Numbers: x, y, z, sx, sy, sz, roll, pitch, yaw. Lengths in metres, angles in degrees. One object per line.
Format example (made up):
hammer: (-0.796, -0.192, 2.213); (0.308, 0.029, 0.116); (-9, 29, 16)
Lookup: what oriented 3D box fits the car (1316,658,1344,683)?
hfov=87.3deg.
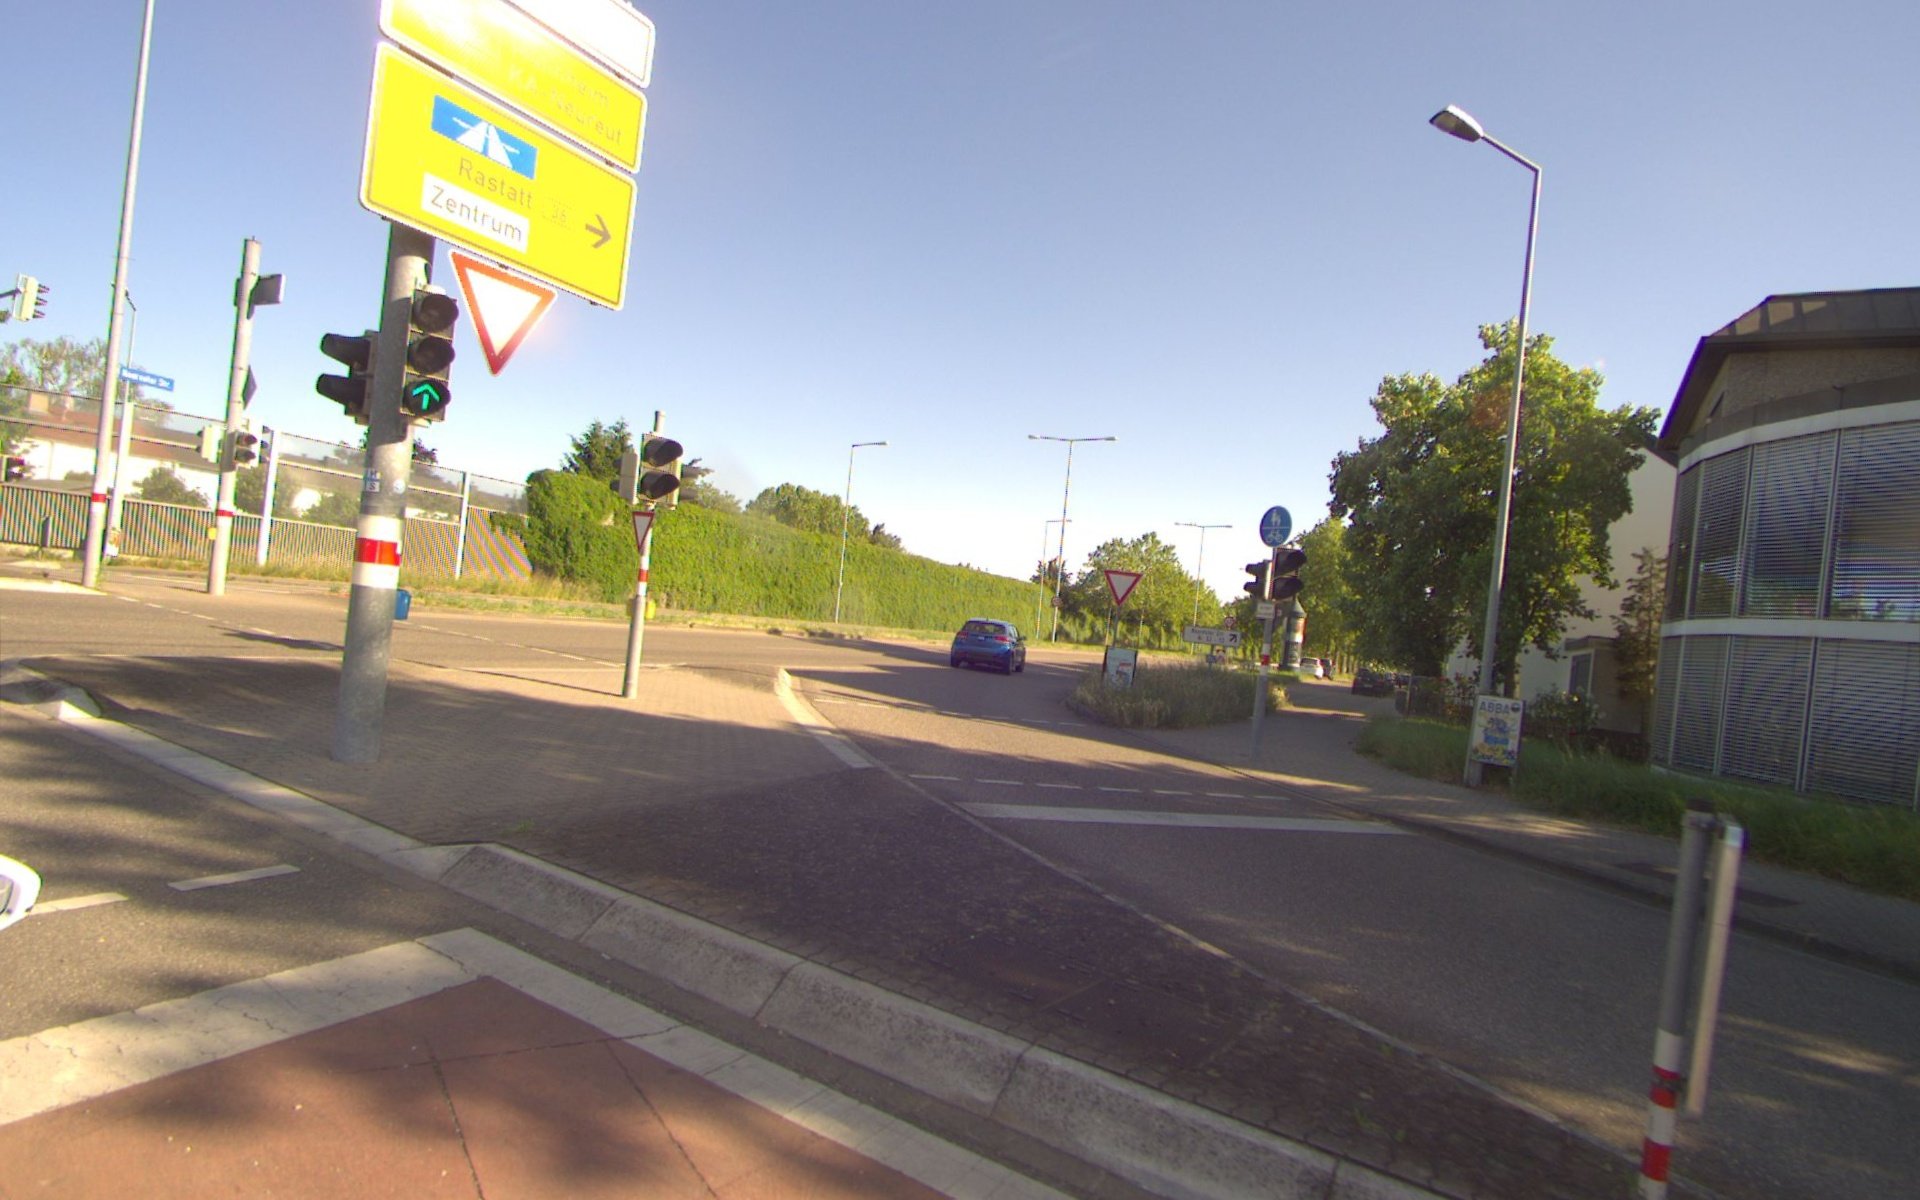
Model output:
car: (31.813, 6.056, 86.411); (1.703, 1.840, 3.997); (6, -1, 26)

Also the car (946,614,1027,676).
car: (0.839, 1.273, 29.080); (1.704, 1.458, 3.795); (7, 0, 9)

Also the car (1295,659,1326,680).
car: (27.709, 5.496, 79.505); (1.703, 1.451, 3.997); (6, -1, 26)

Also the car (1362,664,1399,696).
car: (29.046, 5.518, 69.465); (1.965, 1.838, 4.000); (7, -2, 26)

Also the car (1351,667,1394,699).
car: (24.673, 4.931, 60.079); (1.965, 1.637, 3.997); (6, -1, 26)
